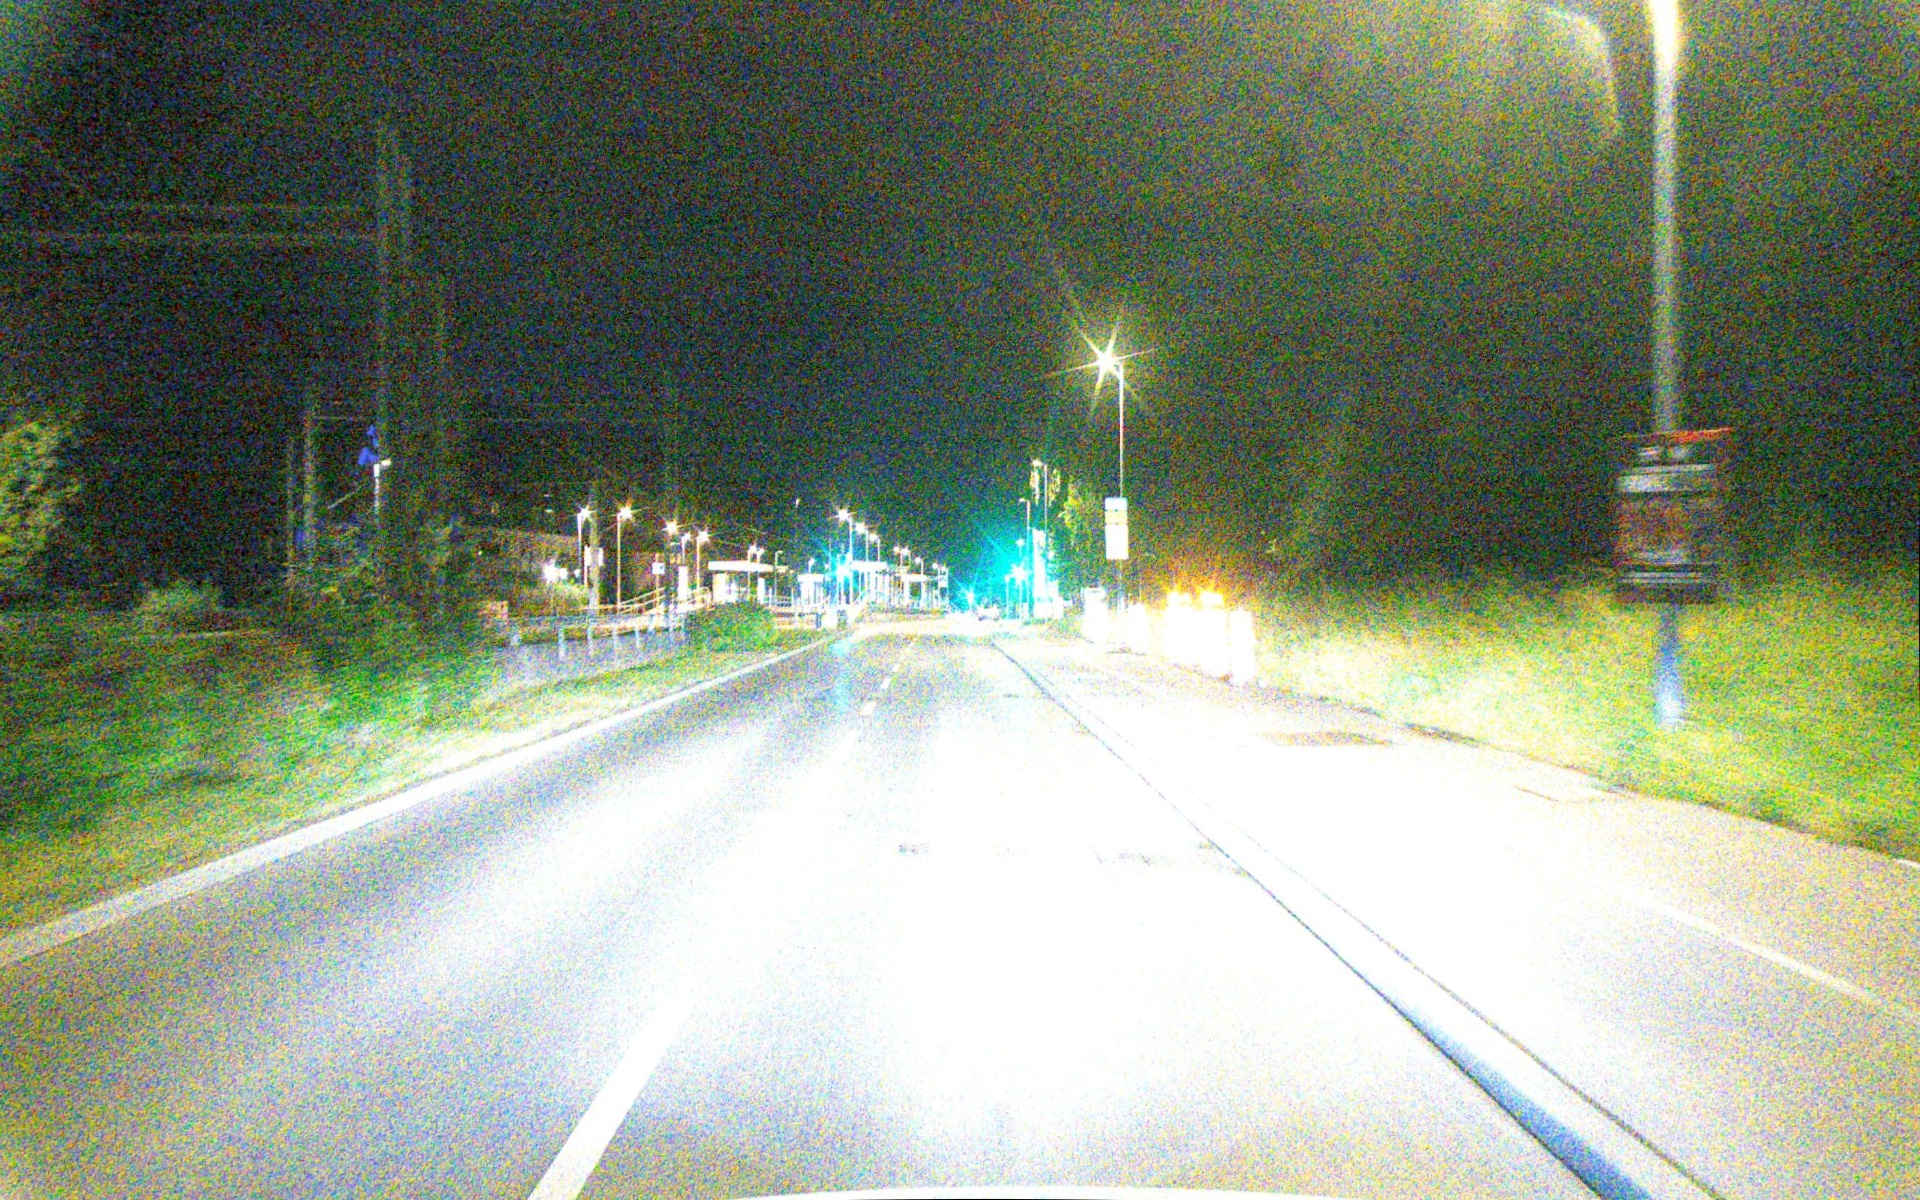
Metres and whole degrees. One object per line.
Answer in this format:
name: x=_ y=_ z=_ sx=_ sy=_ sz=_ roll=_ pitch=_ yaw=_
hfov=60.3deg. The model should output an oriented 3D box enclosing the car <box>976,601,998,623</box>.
car: x=2.502 y=1.130 z=155.241 sx=2.044 sy=2.049 sz=4.000 roll=0 pitch=0 yaw=0
